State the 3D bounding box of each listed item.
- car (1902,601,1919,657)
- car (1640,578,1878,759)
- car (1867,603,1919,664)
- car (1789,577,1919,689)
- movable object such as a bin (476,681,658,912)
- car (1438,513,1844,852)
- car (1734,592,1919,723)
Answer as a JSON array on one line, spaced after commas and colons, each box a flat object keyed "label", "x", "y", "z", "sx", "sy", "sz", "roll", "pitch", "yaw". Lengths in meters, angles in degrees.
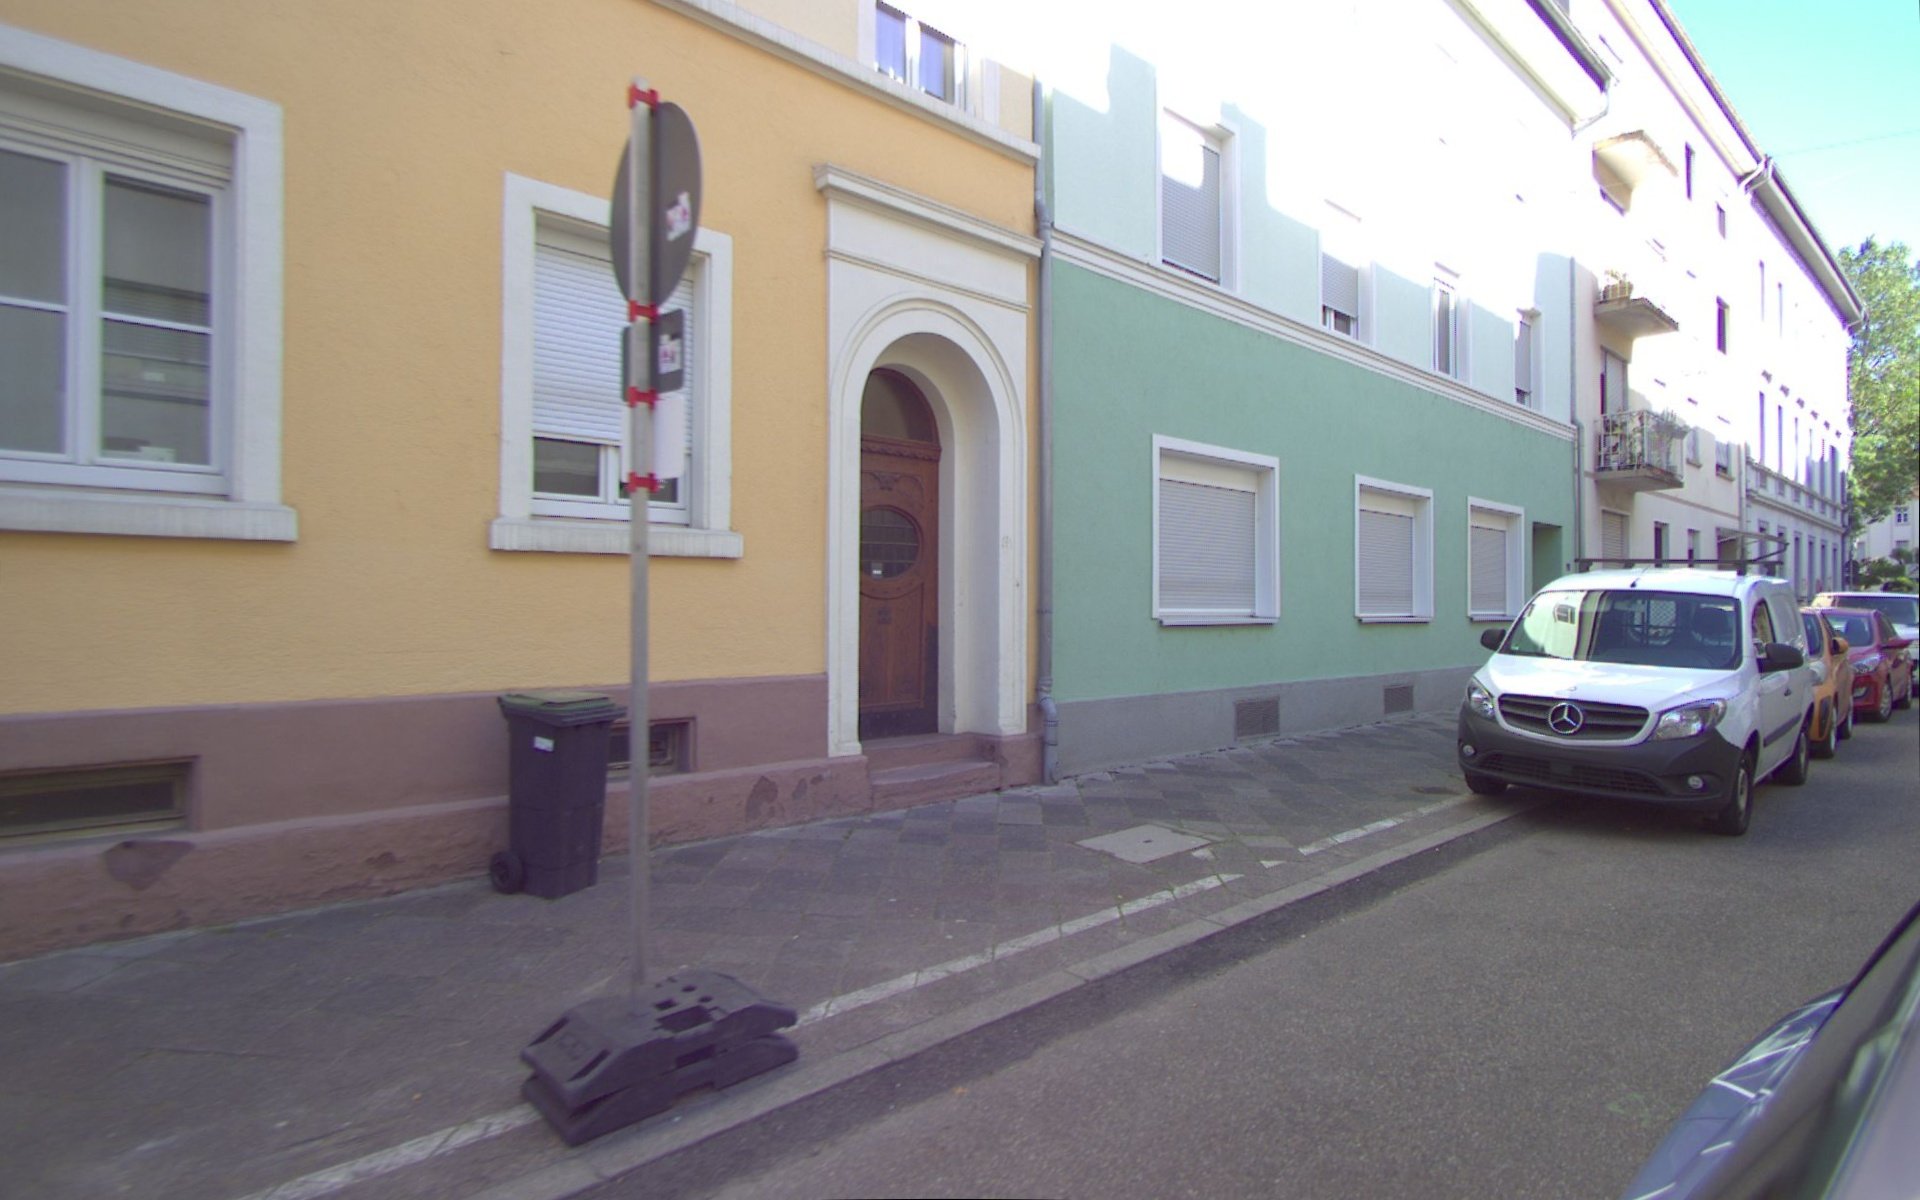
[{"label": "car", "x": 28.693, "y": 0.800, "z": 29.193, "sx": 4.646, "sy": 1.539, "sz": 1.816, "roll": 1, "pitch": -3, "yaw": -42}, {"label": "car", "x": 8.859, "y": 0.654, "z": 11.124, "sx": 3.621, "sy": 1.653, "sz": 1.581, "roll": 0, "pitch": -2, "yaw": -45}, {"label": "car", "x": 24.253, "y": 0.823, "z": 25.443, "sx": 3.803, "sy": 1.467, "sz": 1.748, "roll": 1, "pitch": -3, "yaw": -42}, {"label": "car", "x": 16.764, "y": 0.556, "z": 18.339, "sx": 4.854, "sy": 1.806, "sz": 2.008, "roll": 1, "pitch": -1, "yaw": -42}, {"label": "movable object such as a bin", "x": -1.923, "y": 0.908, "z": 4.951, "sx": 0.632, "sy": 0.947, "sz": 0.654, "roll": 0, "pitch": -1, "yaw": -44}, {"label": "car", "x": 5.584, "y": 0.468, "z": 8.059, "sx": 4.263, "sy": 1.986, "sz": 1.784, "roll": 0, "pitch": 0, "yaw": -43}, {"label": "car", "x": 12.416, "y": 0.709, "z": 14.265, "sx": 3.963, "sy": 1.589, "sz": 1.744, "roll": 1, "pitch": -1, "yaw": -43}]
